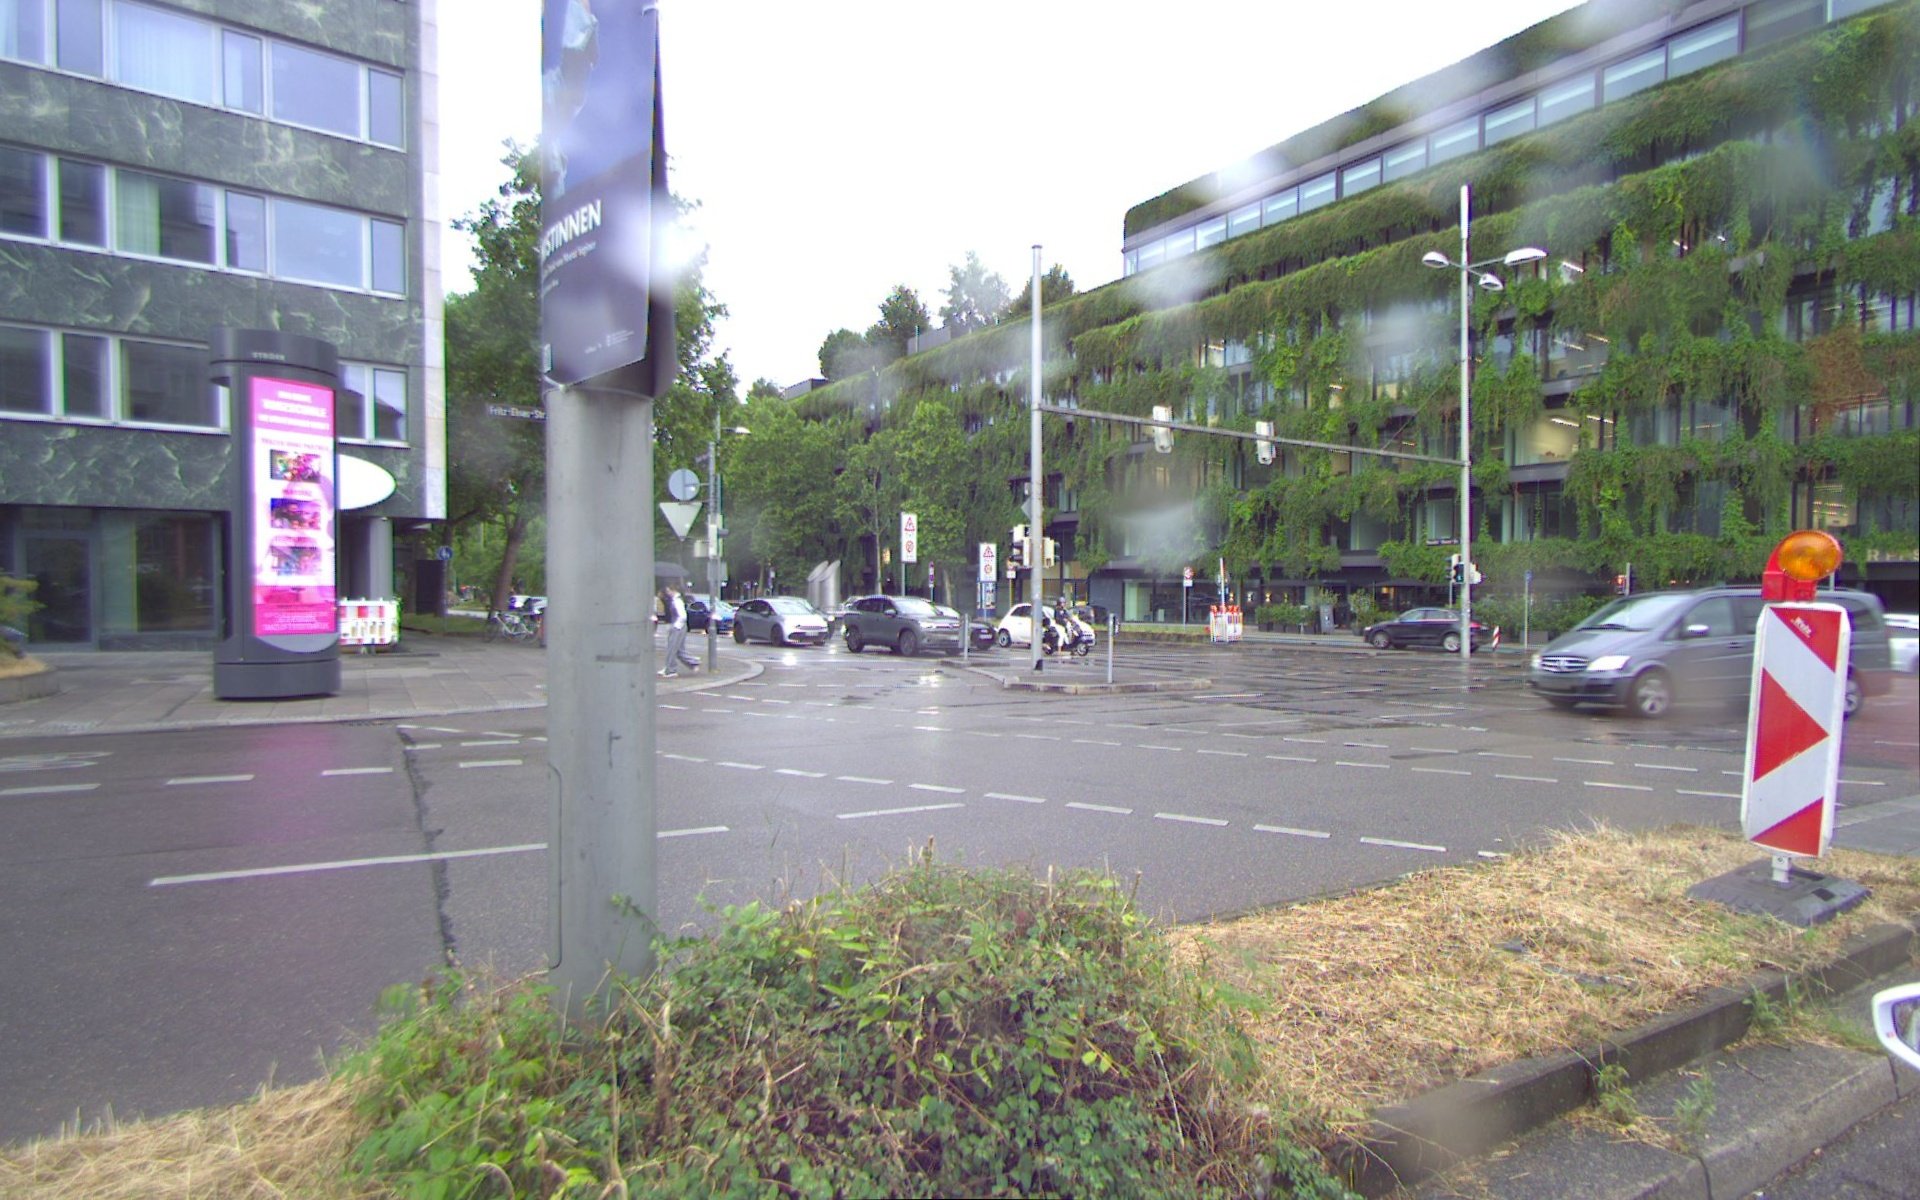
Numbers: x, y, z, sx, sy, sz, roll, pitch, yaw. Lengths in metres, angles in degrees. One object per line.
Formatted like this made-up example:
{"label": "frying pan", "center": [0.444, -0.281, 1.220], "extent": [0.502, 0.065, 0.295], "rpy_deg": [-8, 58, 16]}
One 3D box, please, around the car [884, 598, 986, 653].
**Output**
{"label": "car", "center": [-1.005, 0.913, 37.761], "extent": [1.978, 1.923, 4.139], "rpy_deg": [1, 0, -33]}

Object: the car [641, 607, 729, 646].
{"label": "car", "center": [-10.895, 1.005, 39.622], "extent": [1.982, 1.389, 4.131], "rpy_deg": [1, 0, -37]}

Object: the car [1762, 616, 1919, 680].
{"label": "car", "center": [26.933, 1.415, 29.832], "extent": [1.798, 1.647, 4.637], "rpy_deg": [2, 1, -44]}

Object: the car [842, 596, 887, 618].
{"label": "car", "center": [-7.361, 0.494, 77.244], "extent": [1.783, 1.588, 3.962], "rpy_deg": [2, 0, -34]}

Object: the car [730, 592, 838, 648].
{"label": "car", "center": [-6.012, 0.634, 34.033], "extent": [1.982, 1.773, 3.956], "rpy_deg": [1, 0, -38]}

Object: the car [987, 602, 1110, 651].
{"label": "car", "center": [2.878, 0.857, 33.463], "extent": [1.981, 1.495, 3.958], "rpy_deg": [1, 0, -37]}

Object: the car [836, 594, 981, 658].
{"label": "car", "center": [-1.575, 0.702, 29.128], "extent": [1.984, 1.709, 4.314], "rpy_deg": [1, 0, -41]}

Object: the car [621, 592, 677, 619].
{"label": "car", "center": [-18.678, 0.335, 60.206], "extent": [1.918, 1.544, 4.057], "rpy_deg": [1, 0, -38]}

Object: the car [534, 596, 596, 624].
{"label": "car", "center": [-20.755, 0.525, 52.655], "extent": [1.982, 1.389, 4.131], "rpy_deg": [1, 0, -37]}

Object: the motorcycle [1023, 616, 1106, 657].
{"label": "motorcycle", "center": [3.014, 1.048, 29.090], "extent": [2.331, 1.068, 0.830], "rpy_deg": [2, 0, 41]}

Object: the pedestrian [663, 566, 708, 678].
{"label": "pedestrian", "center": [-5.107, 0.404, 18.703], "extent": [0.715, 2.040, 0.598], "rpy_deg": [1, 0, -10]}

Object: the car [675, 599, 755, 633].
{"label": "car", "center": [-10.950, 0.695, 44.797], "extent": [1.982, 1.389, 4.131], "rpy_deg": [1, 0, -37]}

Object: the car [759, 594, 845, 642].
{"label": "car", "center": [-6.286, 0.663, 39.667], "extent": [1.841, 1.791, 4.139], "rpy_deg": [1, 0, -32]}

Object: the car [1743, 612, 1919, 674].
{"label": "car", "center": [23.328, 1.097, 26.029], "extent": [1.799, 1.532, 4.636], "rpy_deg": [2, -3, -45]}

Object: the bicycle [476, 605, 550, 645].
{"label": "bicycle", "center": [-12.292, 0.680, 27.632], "extent": [1.765, 1.066, 0.581], "rpy_deg": [1, 0, -35]}

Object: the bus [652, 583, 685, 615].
{"label": "bus", "center": [-32.015, -0.145, 110.231], "extent": [1.783, 3.385, 5.922], "rpy_deg": [2, 0, -34]}

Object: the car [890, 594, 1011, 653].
{"label": "car", "center": [-0.366, 0.709, 32.516], "extent": [1.981, 1.773, 3.958], "rpy_deg": [1, 0, -37]}

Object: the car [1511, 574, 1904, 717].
{"label": "car", "center": [11.438, 0.692, 15.533], "extent": [4.874, 1.953, 1.997], "rpy_deg": [2, 0, -8]}

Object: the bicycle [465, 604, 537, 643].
{"label": "bicycle", "center": [-12.971, 0.664, 28.409], "extent": [1.765, 1.066, 0.581], "rpy_deg": [1, 0, -35]}

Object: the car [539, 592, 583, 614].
{"label": "car", "center": [-29.609, 0.221, 74.476], "extent": [1.919, 1.544, 4.054], "rpy_deg": [1, 0, -40]}

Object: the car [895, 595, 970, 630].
{"label": "car", "center": [-1.464, 0.653, 52.882], "extent": [1.837, 1.692, 3.952], "rpy_deg": [2, 0, -41]}

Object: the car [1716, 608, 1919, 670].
{"label": "car", "center": [24.778, 1.080, 28.901], "extent": [1.799, 1.532, 4.636], "rpy_deg": [2, 0, -45]}

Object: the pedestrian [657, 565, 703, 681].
{"label": "pedestrian", "center": [-5.029, 0.404, 18.059], "extent": [0.715, 2.040, 0.598], "rpy_deg": [1, 0, -10]}

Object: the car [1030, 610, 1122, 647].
{"label": "car", "center": [5.807, 1.418, 50.738], "extent": [1.985, 1.660, 4.364], "rpy_deg": [2, 0, -42]}

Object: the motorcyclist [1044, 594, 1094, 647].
{"label": "motorcyclist", "center": [3.140, 0.581, 28.990], "extent": [1.153, 1.492, 0.832], "rpy_deg": [2, 0, 40]}

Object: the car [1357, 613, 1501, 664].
{"label": "car", "center": [17.139, 1.362, 36.848], "extent": [1.985, 1.660, 4.364], "rpy_deg": [2, 0, -42]}

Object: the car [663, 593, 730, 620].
{"label": "car", "center": [-13.924, 0.340, 52.922], "extent": [1.982, 1.389, 4.131], "rpy_deg": [1, 0, -37]}
